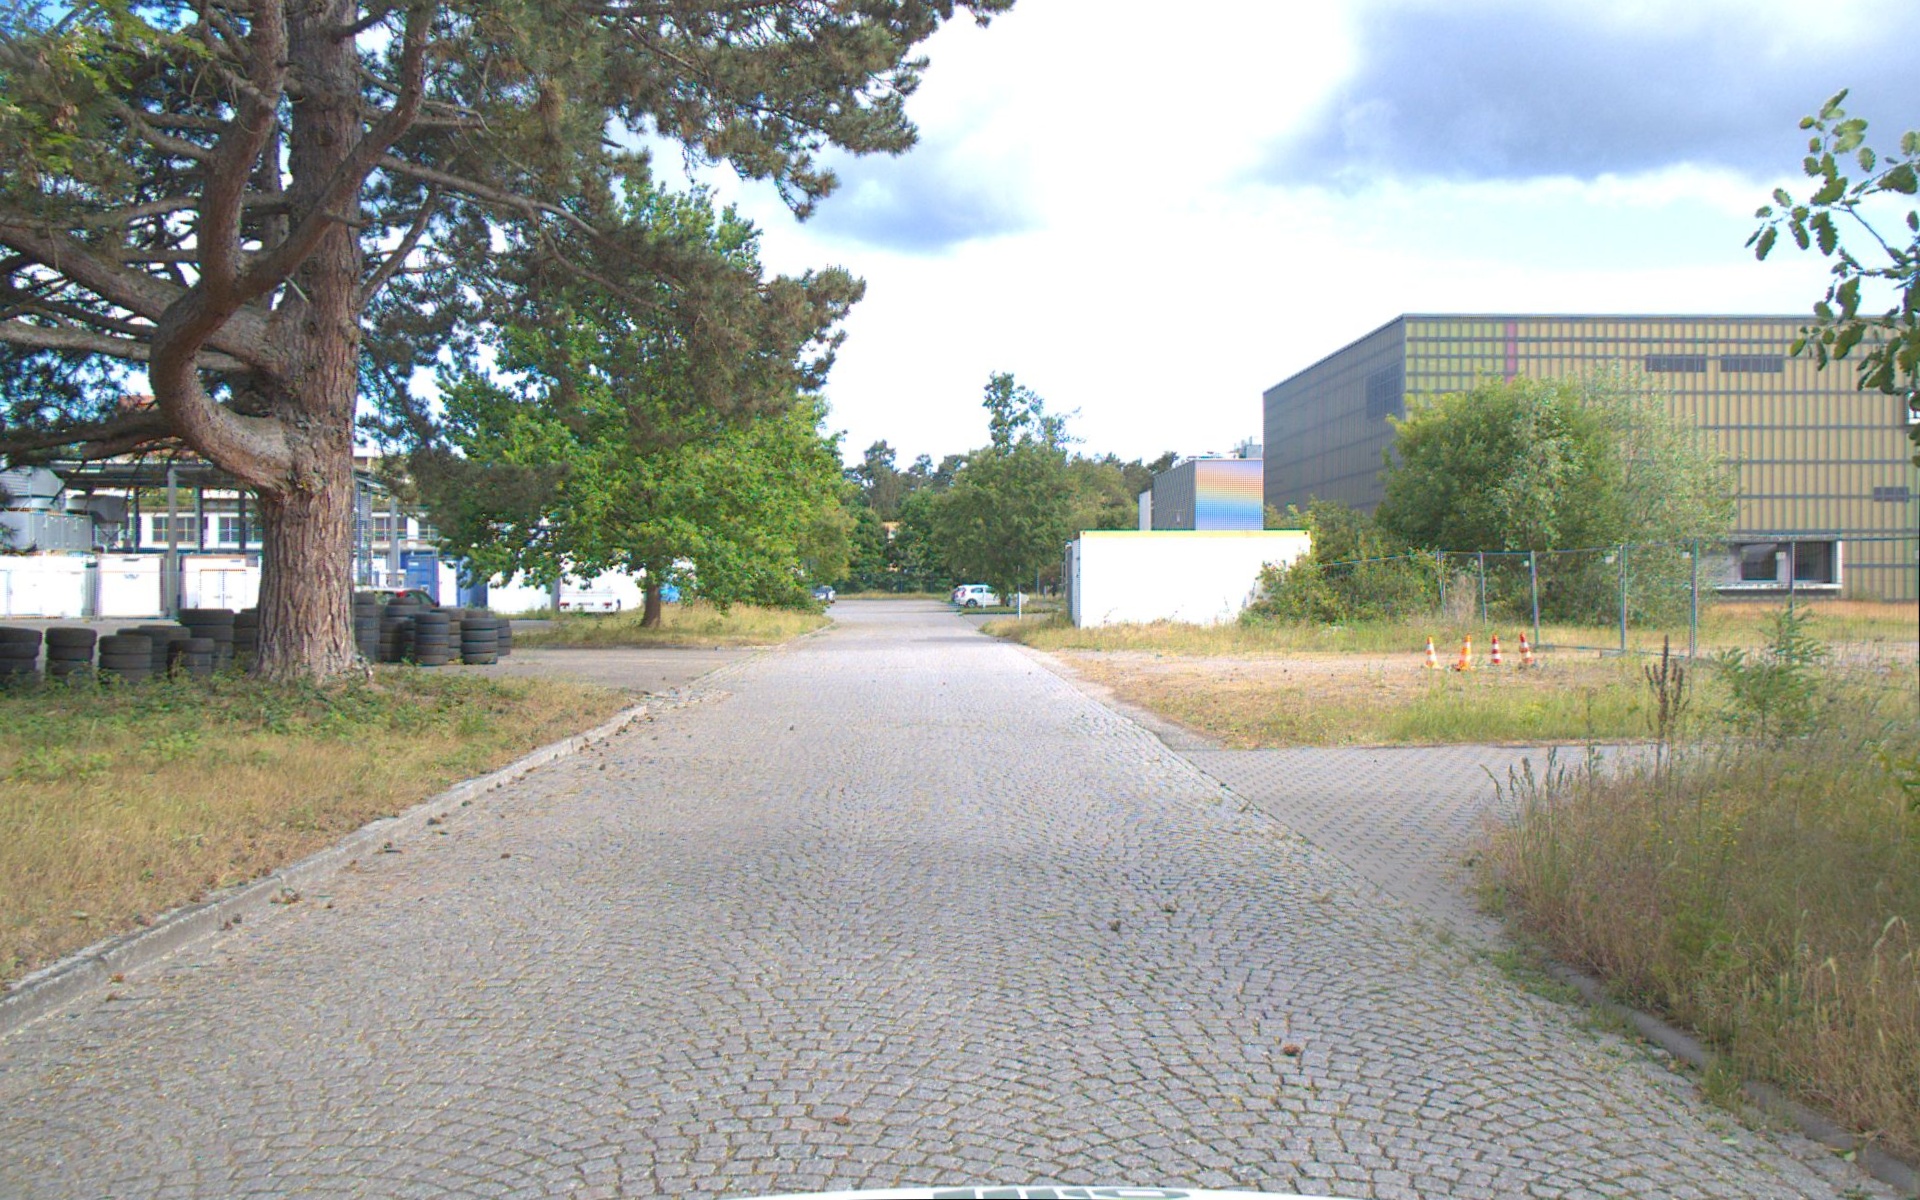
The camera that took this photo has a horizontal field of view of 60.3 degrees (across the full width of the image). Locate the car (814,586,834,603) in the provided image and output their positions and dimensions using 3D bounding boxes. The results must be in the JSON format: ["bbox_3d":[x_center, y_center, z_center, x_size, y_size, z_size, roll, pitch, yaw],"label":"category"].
[{"bbox_3d":[-11.753,-0.496,142.958,1.714,1.480,3.997,-1,0,-4],"label":"car"}]

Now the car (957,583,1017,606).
[{"bbox_3d":[1.776,-0.376,109.260,3.906,1.481,1.999,0,0,-2],"label":"car"}]

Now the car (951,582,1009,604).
[{"bbox_3d":[1.366,-0.477,114.455,3.906,1.481,1.769,-1,0,-2],"label":"car"}]

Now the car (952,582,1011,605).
[{"bbox_3d":[1.413,-0.435,111.416,3.906,1.481,1.697,-1,0,-2],"label":"car"}]

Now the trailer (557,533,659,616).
[{"bbox_3d":[-17.159,-1.220,81.306,2.602,3.770,10.722,-1,0,0],"label":"trailer"}]

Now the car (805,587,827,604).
[{"bbox_3d":[-11.523,-0.371,132.732,1.714,1.387,3.997,-1,0,-4],"label":"car"}]

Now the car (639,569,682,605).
[{"bbox_3d":[-21.803,-0.931,120.742,1.952,2.567,5.619,-1,0,1],"label":"car"}]

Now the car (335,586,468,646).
[{"bbox_3d":[-14.451,0.380,43.038,1.785,1.456,4.221,0,0,4],"label":"car"}]
